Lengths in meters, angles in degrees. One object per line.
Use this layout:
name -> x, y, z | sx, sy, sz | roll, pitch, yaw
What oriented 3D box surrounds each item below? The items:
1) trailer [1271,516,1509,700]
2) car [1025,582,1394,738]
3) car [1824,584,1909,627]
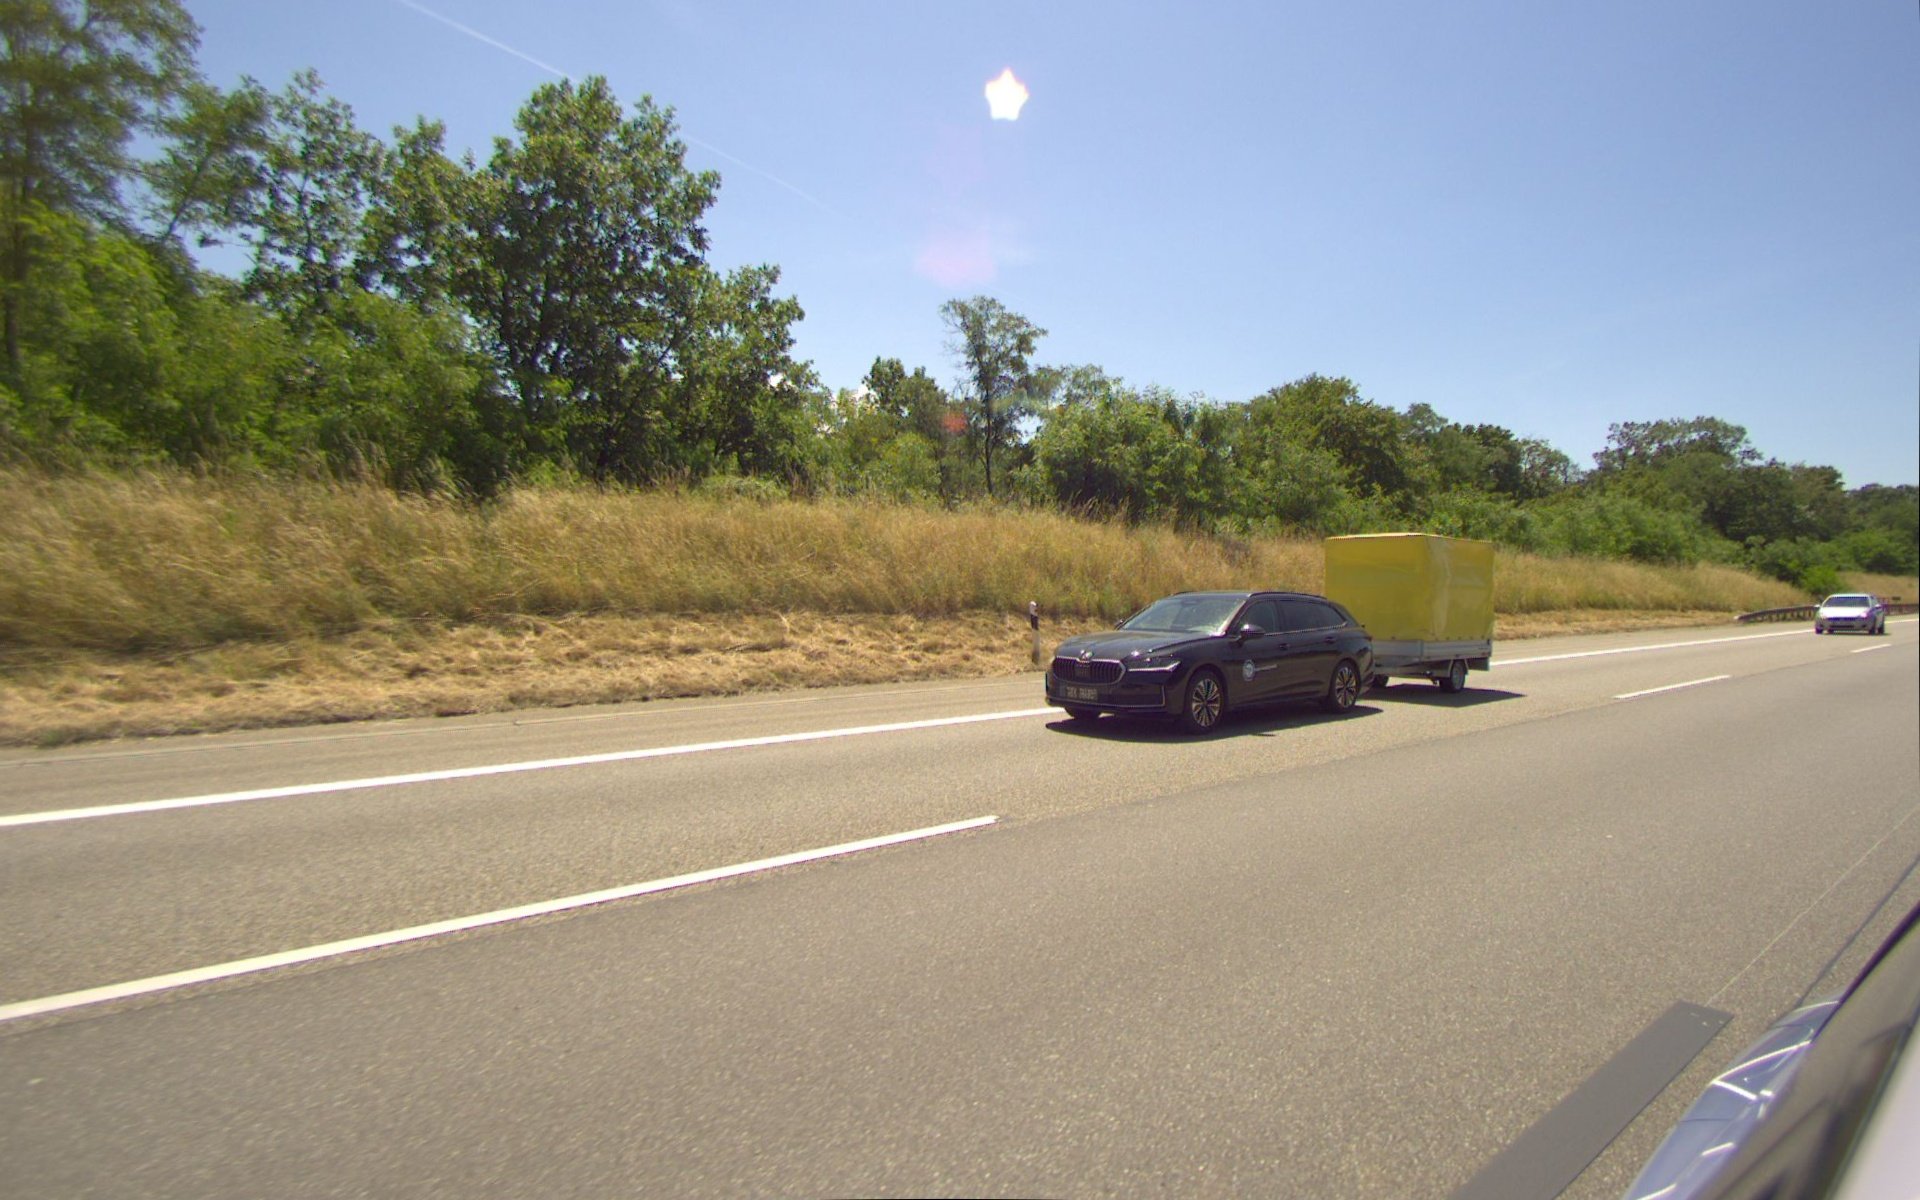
trailer -> 6.290, 0.068, 14.636 | 3.773, 2.318, 1.706 | -1, 1, -41
car -> 3.059, 0.532, 11.780 | 4.705, 1.474, 1.824 | -1, 1, -41
car -> 33.163, 0.169, 37.002 | 3.909, 1.484, 1.749 | 0, 1, -39
